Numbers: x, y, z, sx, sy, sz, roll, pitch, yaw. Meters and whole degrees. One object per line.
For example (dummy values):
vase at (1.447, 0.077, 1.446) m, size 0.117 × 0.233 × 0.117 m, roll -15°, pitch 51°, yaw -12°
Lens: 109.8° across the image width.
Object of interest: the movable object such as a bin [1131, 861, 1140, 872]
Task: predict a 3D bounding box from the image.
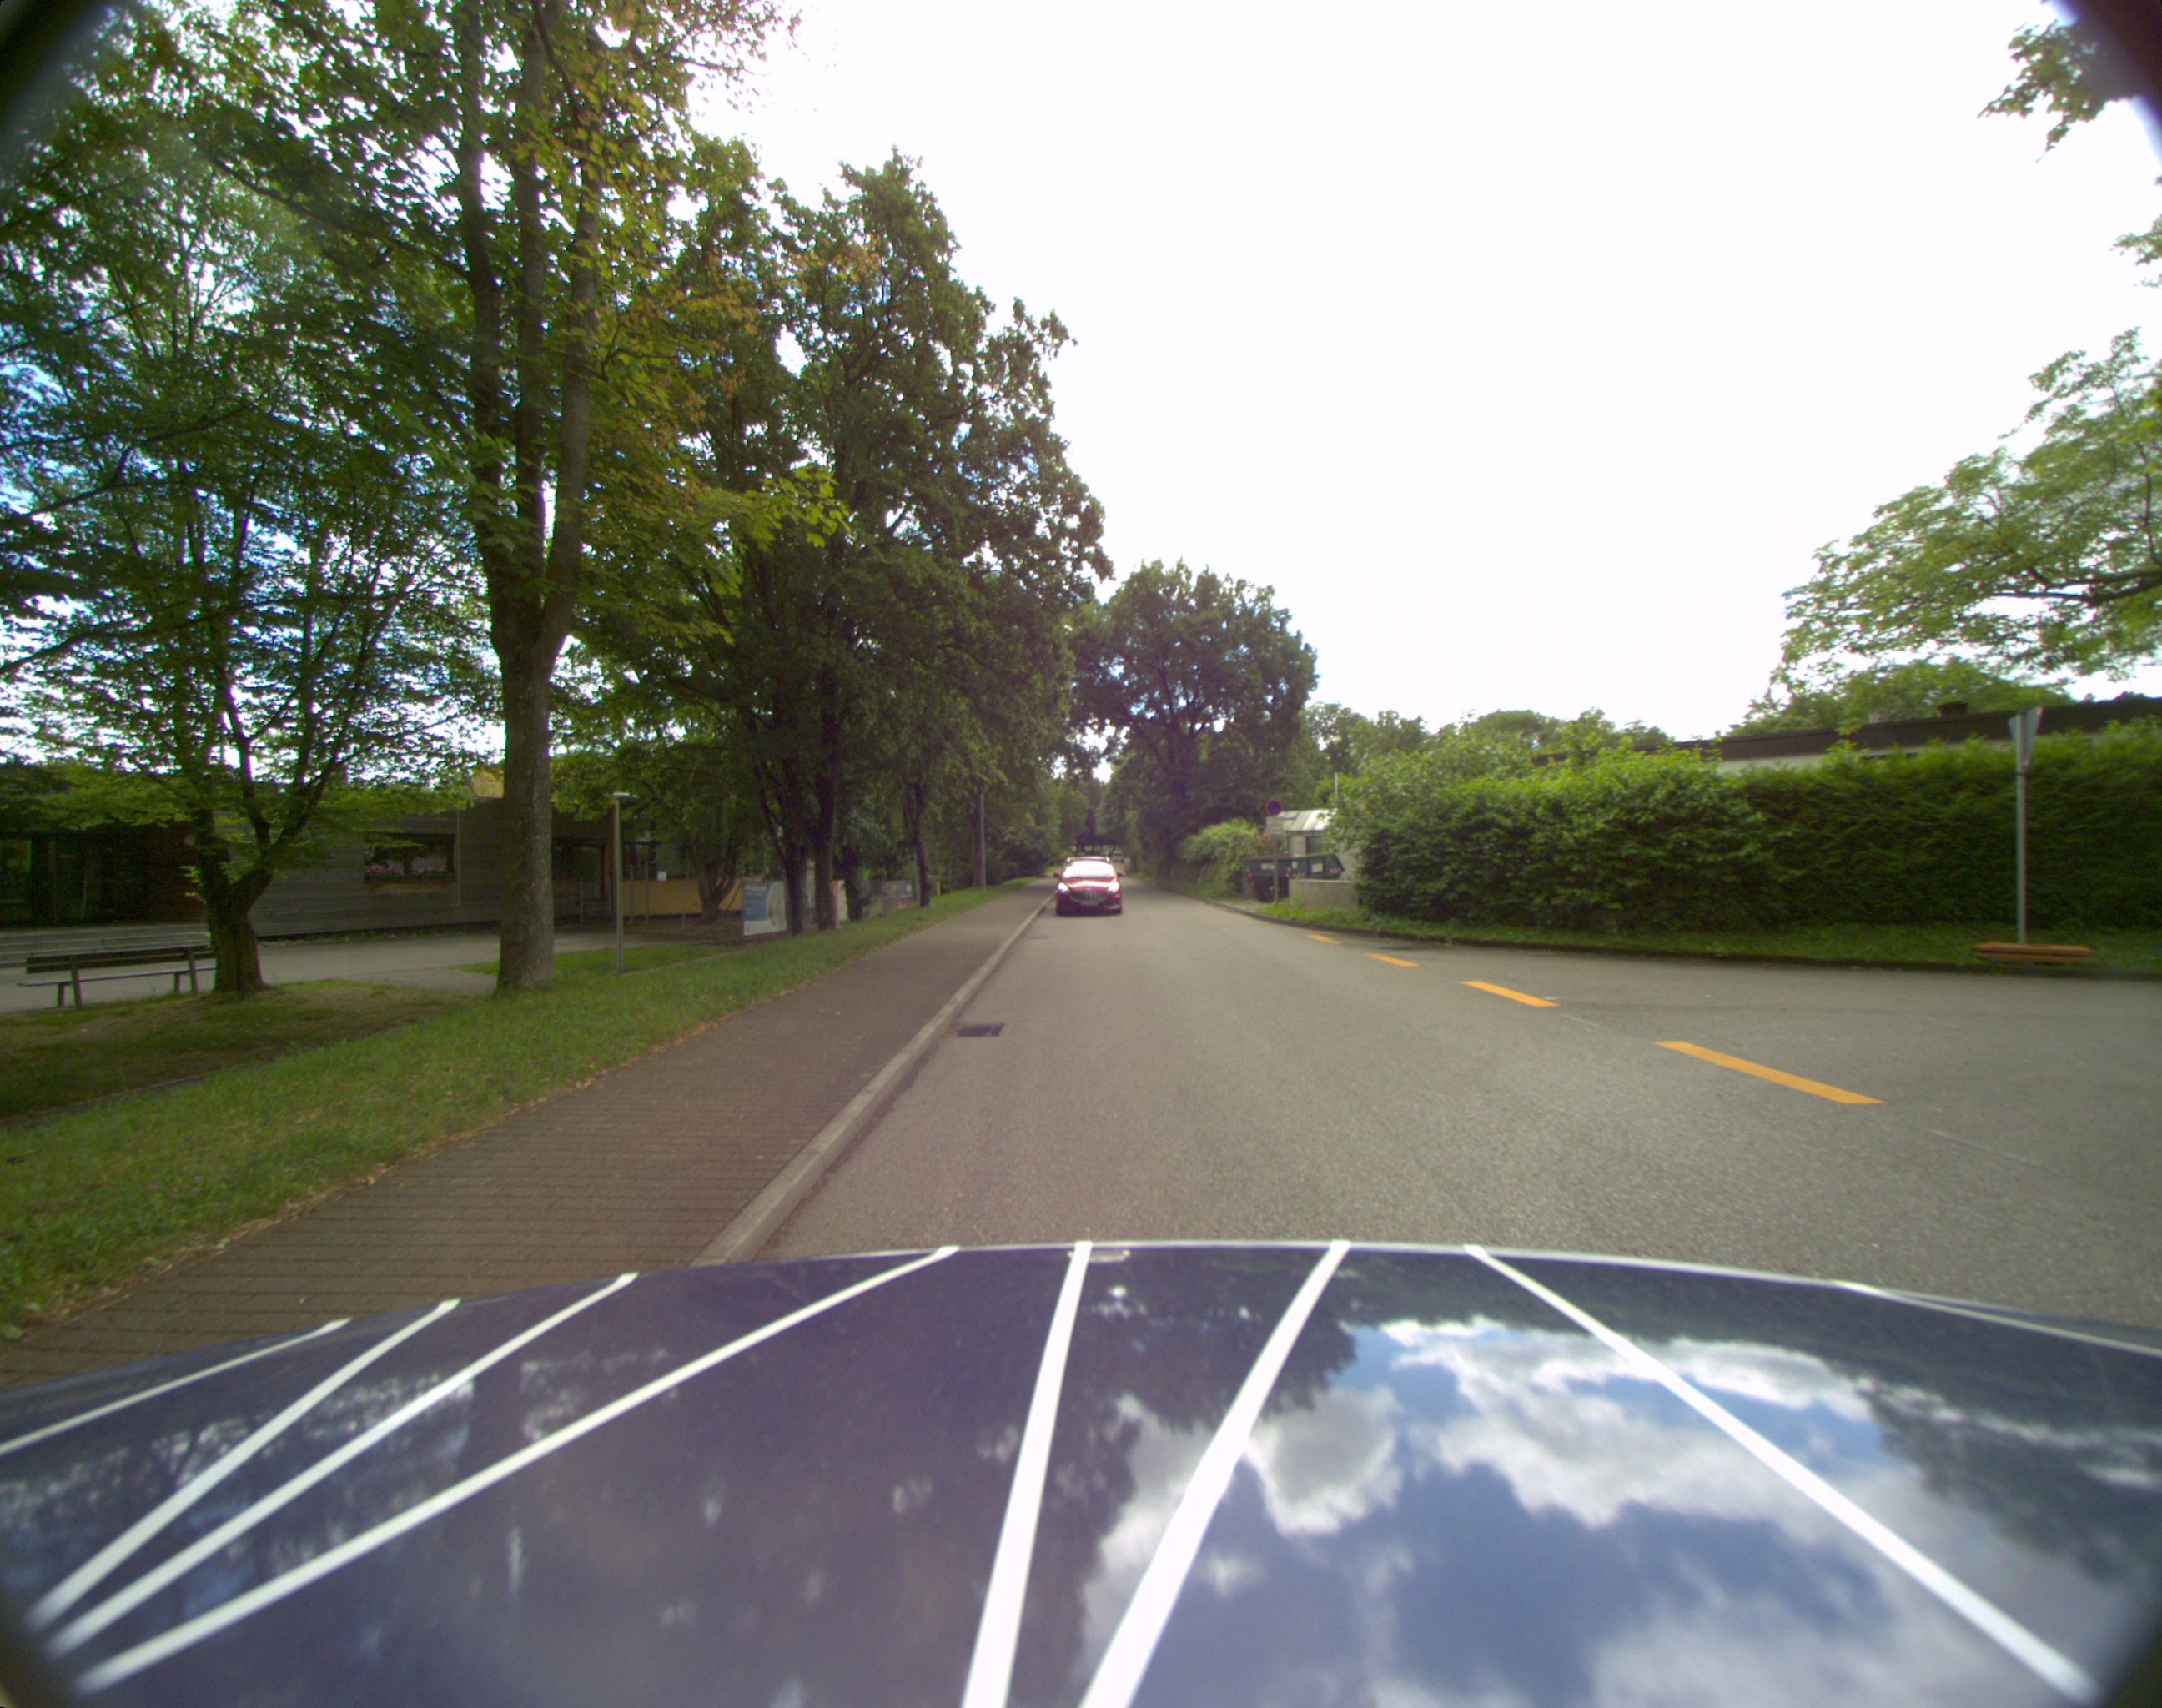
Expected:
movable object such as a bin at (5.093, 1.138, 71.168) m, size 0.649 × 1.007 × 0.632 m, roll 1°, pitch 2°, yaw 16°

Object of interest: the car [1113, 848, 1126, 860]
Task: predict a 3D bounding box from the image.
car at (6.179, -0.023, 122.746) m, size 1.878 × 1.902 × 4.430 m, roll 0°, pitch 1°, yaw 0°

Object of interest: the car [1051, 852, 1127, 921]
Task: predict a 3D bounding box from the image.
car at (0.331, 0.845, 21.988) m, size 1.816 × 1.717 × 4.001 m, roll 1°, pitch 1°, yaw 6°
